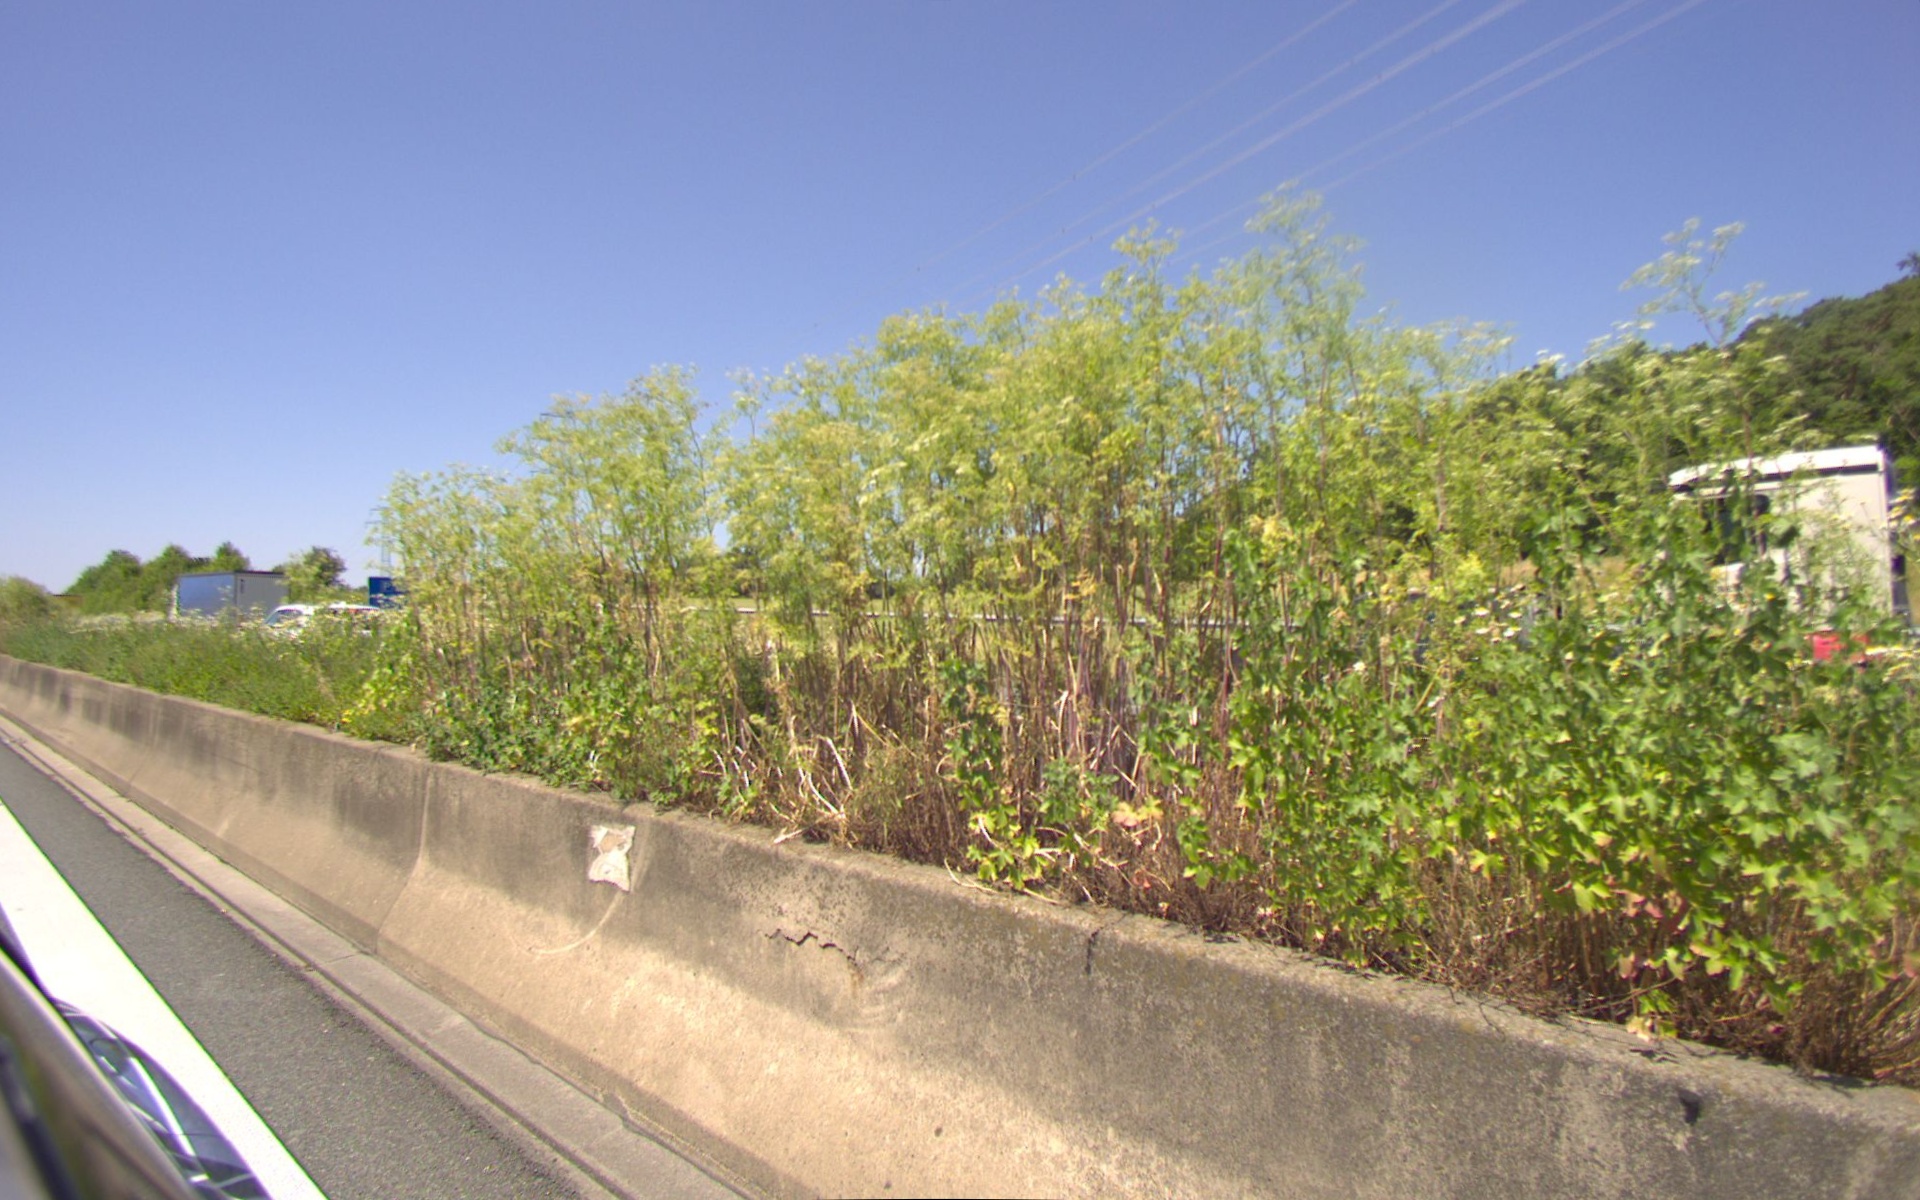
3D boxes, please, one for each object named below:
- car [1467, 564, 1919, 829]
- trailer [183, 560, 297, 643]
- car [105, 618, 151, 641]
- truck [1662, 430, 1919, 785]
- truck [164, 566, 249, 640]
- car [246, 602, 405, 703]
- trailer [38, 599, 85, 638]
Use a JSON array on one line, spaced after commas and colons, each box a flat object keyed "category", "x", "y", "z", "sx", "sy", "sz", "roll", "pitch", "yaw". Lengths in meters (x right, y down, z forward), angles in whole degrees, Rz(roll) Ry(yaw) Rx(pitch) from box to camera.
[{"category": "car", "x": 6.427, "y": 0.675, "z": 8.039, "sx": 4.024, "sy": 1.801, "sz": 1.588, "roll": -1, "pitch": -1, "yaw": 41}, {"category": "trailer", "x": -40.449, "y": 0.142, "z": 56.663, "sx": 10.980, "sy": 4.260, "sz": 2.979, "roll": -1, "pitch": -1, "yaw": 43}, {"category": "car", "x": -47.367, "y": 1.678, "z": 57.592, "sx": 3.391, "sy": 1.247, "sz": 1.519, "roll": -1, "pitch": -1, "yaw": 41}, {"category": "truck", "x": 12.743, "y": 0.030, "z": 7.760, "sx": 11.819, "sy": 3.313, "sz": 2.735, "roll": -1, "pitch": -1, "yaw": 43}, {"category": "truck", "x": -46.233, "y": 0.205, "z": 62.046, "sx": 6.685, "sy": 4.260, "sz": 2.979, "roll": -1, "pitch": -1, "yaw": 43}, {"category": "car", "x": -12.628, "y": 0.976, "z": 20.081, "sx": 3.667, "sy": 1.815, "sz": 1.663, "roll": -1, "pitch": -1, "yaw": 41}, {"category": "trailer", "x": -102.383, "y": 2.059, "z": 115.245, "sx": 10.683, "sy": 4.238, "sz": 2.792, "roll": 0, "pitch": 1, "yaw": 42}]
